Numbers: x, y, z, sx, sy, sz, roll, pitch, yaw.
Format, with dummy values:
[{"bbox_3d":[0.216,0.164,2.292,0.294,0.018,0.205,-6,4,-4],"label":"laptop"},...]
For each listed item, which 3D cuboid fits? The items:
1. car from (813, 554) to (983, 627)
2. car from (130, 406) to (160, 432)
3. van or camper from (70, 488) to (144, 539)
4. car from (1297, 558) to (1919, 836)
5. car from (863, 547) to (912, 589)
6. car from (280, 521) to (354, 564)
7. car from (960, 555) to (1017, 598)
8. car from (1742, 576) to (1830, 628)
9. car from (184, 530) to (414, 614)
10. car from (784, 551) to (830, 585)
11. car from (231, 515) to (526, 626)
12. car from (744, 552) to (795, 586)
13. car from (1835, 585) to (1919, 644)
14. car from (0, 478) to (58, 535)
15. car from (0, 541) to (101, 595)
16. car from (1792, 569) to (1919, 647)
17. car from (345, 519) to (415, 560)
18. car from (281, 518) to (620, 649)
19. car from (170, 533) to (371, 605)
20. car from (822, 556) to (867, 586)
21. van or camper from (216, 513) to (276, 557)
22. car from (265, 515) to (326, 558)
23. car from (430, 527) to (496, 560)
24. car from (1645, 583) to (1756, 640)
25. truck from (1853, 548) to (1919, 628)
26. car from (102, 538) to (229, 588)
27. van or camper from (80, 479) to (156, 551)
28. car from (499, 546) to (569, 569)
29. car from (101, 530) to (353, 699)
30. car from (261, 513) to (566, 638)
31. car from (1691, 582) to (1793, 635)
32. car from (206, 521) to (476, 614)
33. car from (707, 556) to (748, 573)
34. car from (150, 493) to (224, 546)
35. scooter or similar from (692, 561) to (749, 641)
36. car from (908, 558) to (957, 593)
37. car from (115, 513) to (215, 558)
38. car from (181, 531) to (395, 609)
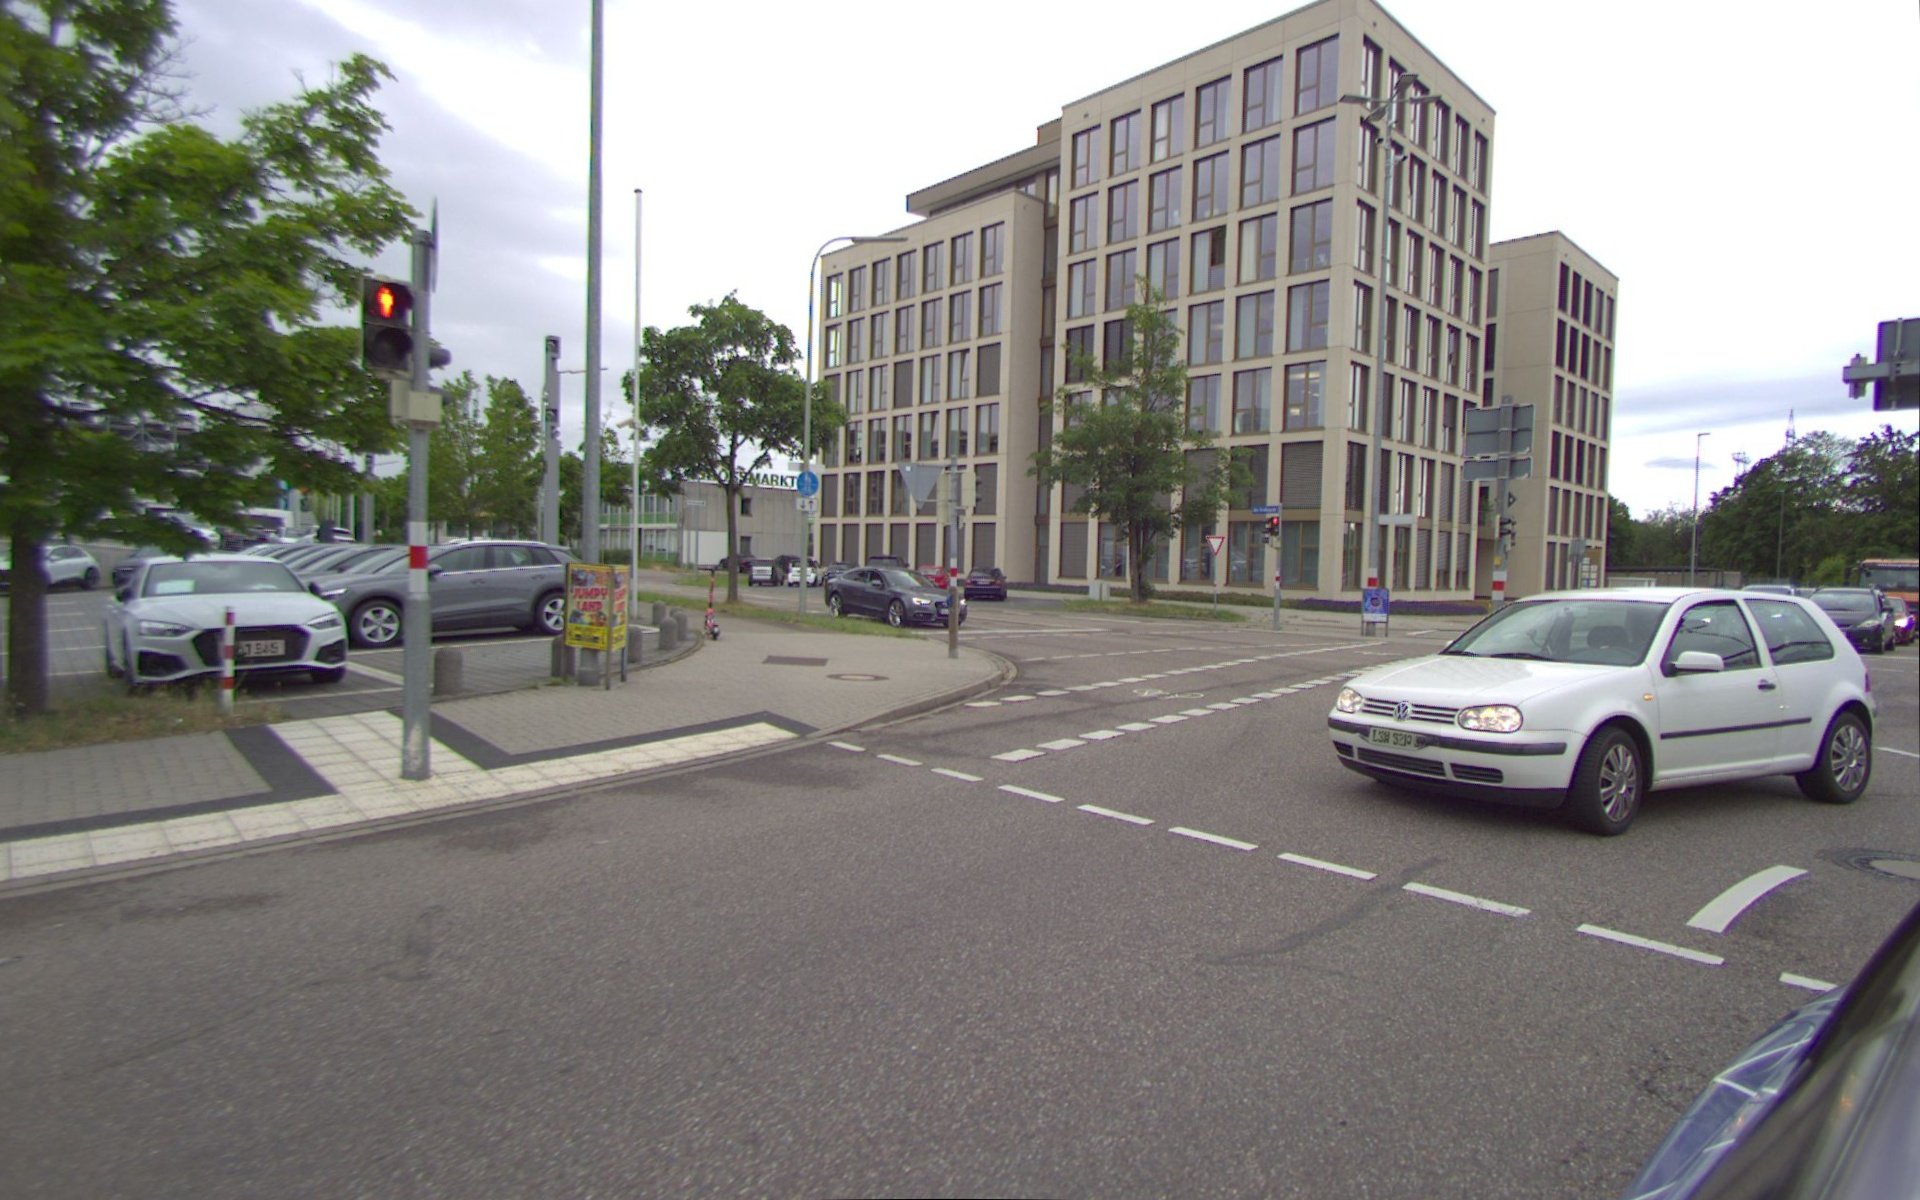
[{"bbox_3d":[-1.641,-0.300,25.160,1.949,1.570,4.612,0,3,-38],"label":"car"},{"bbox_3d":[-78.943,-17.499,97.986,1.967,1.906,3.992,-1,2,-43],"label":"car"},{"bbox_3d":[-32.715,-3.247,38.787,1.966,1.671,3.992,2,1,-43],"label":"van or camper"},{"bbox_3d":[4.565,0.558,7.064,3.921,1.496,1.842,2,0,-23],"label":"car"},{"bbox_3d":[-3.593,-1.576,50.868,1.963,1.990,4.243,1,1,3],"label":"car"},{"bbox_3d":[-27.553,-2.433,43.312,1.966,1.638,3.993,2,1,-42],"label":"car"},{"bbox_3d":[1.340,-1.054,45.122,1.859,1.790,4.120,1,1,11],"label":"car"},{"bbox_3d":[30.618,0.100,37.474,4.079,1.791,1.996,2,0,-43],"label":"car"},{"bbox_3d":[-17.513,-0.803,26.972,4.829,2.038,1.996,-3,4,-44],"label":"car"},{"bbox_3d":[-8.597,-1.785,57.241,1.565,1.821,3.425,2,0,9],"label":"car"},{"bbox_3d":[-12.038,-0.677,21.194,4.957,2.038,2.261,-3,4,-44],"label":"car"},{"bbox_3d":[-10.772,-1.732,57.540,1.737,1.754,3.425,2,0,9],"label":"car"},{"bbox_3d":[27.819,0.428,30.301,3.932,1.621,1.996,2,1,-43],"label":"car"},{"bbox_3d":[-34.733,-3.426,37.445,1.966,1.872,3.993,2,1,-42],"label":"car"},{"bbox_3d":[-30.670,-1.046,33.551,1.882,1.679,4.456,-1,2,-20],"label":"car"},{"bbox_3d":[22.745,0.213,25.637,4.347,1.791,1.996,2,0,-43],"label":"car"},{"bbox_3d":[-26.015,-2.672,45.356,1.965,1.638,3.995,2,1,-41],"label":"car"},{"bbox_3d":[-8.396,-0.363,16.990,4.709,1.885,1.996,-3,4,-44],"label":"car"},{"bbox_3d":[-21.144,-1.008,31.164,4.829,2.038,1.996,-3,4,-44],"label":"car"},{"bbox_3d":[-6.026,-1.526,53.275,1.667,1.530,3.814,1,1,4],"label":"car"},{"bbox_3d":[-36.004,-3.242,50.992,1.966,2.039,3.993,2,1,-42],"label":"van or camper"},{"bbox_3d":[-34.490,-3.268,52.491,1.966,2.039,3.993,2,1,-42],"label":"car"},{"bbox_3d":[-53.783,-6.097,109.553,6.028,3.155,2.131,2,0,-41],"label":"car"},{"bbox_3d":[20.646,0.322,28.166,4.029,1.450,1.748,2,1,-43],"label":"car"},{"bbox_3d":[34.310,-0.353,36.165,6.559,2.671,2.817,2,0,-42],"label":"truck"},{"bbox_3d":[-27.967,-1.291,35.826,1.882,1.679,4.456,-1,2,-14],"label":"car"},{"bbox_3d":[-39.727,-3.899,47.699,2.500,3.064,4.834,2,0,-42],"label":"van or camper"},{"bbox_3d":[-36.718,-3.676,87.330,5.100,1.741,2.140,2,1,-42],"label":"car"},{"bbox_3d":[-8.233,0.084,11.208,1.843,1.504,4.222,-2,2,-42],"label":"car"},{"bbox_3d":[-10.082,-0.525,18.924,4.639,2.038,1.996,-3,4,-43],"label":"car"},{"bbox_3d":[24.381,0.267,31.498,4.079,1.509,1.868,2,1,-43],"label":"car"},{"bbox_3d":[-13.946,-0.783,23.034,2.048,1.899,4.885,2,4,44],"label":"car"},{"bbox_3d":[-19.491,-2.968,84.960,1.475,1.349,3.203,2,0,32],"label":"car"},{"bbox_3d":[-30.913,-3.169,40.422,1.966,1.846,3.993,2,1,-42],"label":"car"},{"bbox_3d":[-4.014,-0.012,16.886,0.547,1.234,1.563,4,1,-25],"label":"scooter or similar"},{"bbox_3d":[-1.277,-1.178,48.642,1.856,1.570,4.128,1,1,6],"label":"car"},{"bbox_3d":[-40.967,-3.281,52.174,3.931,2.039,1.997,2,0,-42],"label":"car"},{"bbox_3d":[-19.215,-0.918,29.089,4.829,2.038,1.996,-3,4,-44],"label":"car"}]
